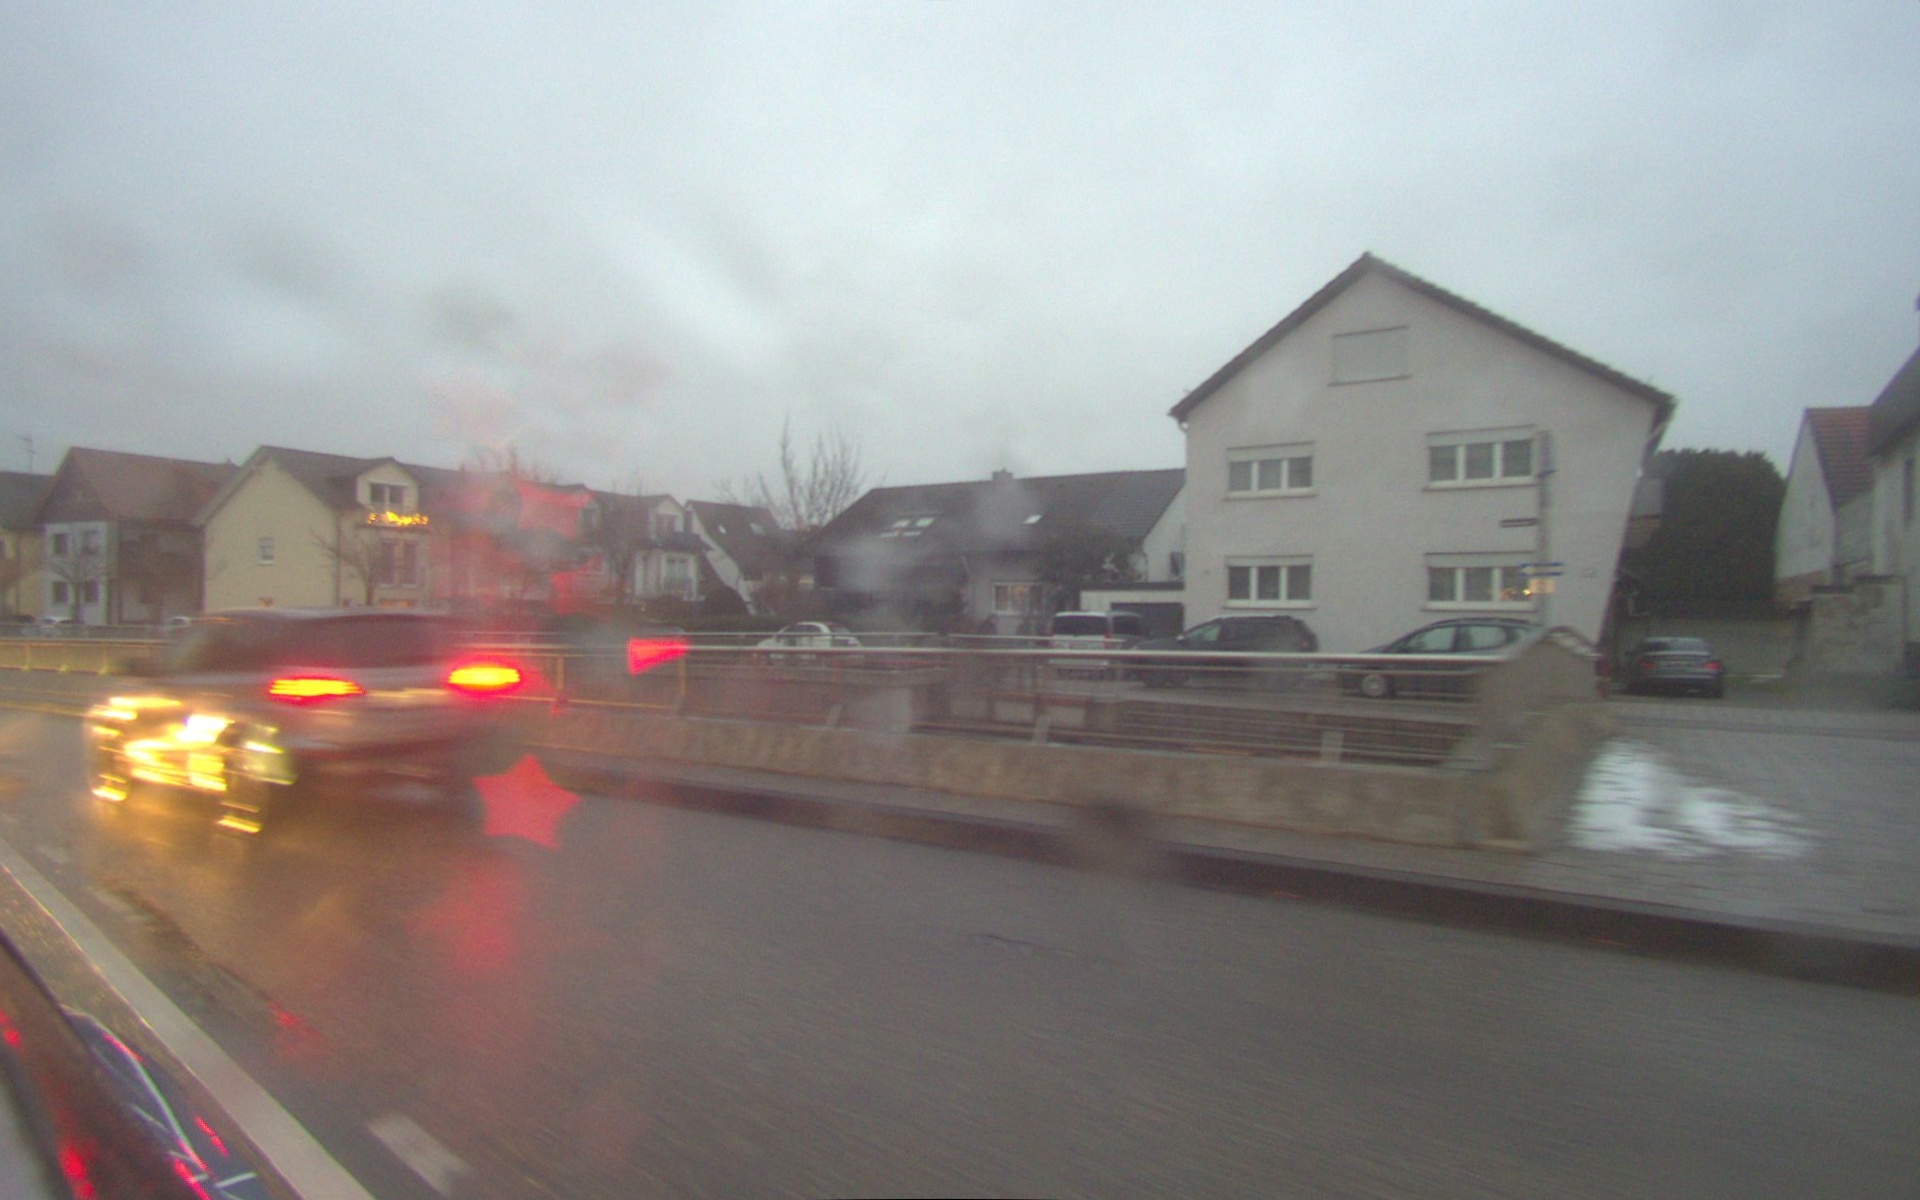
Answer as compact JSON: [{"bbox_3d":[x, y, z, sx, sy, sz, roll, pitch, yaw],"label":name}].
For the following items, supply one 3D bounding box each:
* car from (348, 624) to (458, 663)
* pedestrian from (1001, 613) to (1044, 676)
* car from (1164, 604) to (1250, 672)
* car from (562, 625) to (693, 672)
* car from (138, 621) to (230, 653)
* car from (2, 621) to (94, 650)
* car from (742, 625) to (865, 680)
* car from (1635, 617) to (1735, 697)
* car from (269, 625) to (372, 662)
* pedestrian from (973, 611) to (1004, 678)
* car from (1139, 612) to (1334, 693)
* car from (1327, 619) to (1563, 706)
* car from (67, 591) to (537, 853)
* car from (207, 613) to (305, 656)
[{"bbox_3d":[-22.163,1.678,40.261,4.236,1.480,1.783,-1,-2,27],"label":"car"},{"bbox_3d":[1.279,0.910,20.809,0.601,1.259,0.684,-2,-1,36],"label":"pedestrian"},{"bbox_3d":[7.677,1.241,31.255,1.467,1.952,3.663,-2,-5,33],"label":"car"},{"bbox_3d":[-11.274,1.599,34.246,4.236,1.480,1.783,-1,-2,27],"label":"car"},{"bbox_3d":[-36.419,1.761,47.518,3.991,1.480,1.663,-1,-4,23],"label":"car"},{"bbox_3d":[-47.361,1.809,52.541,4.586,1.480,1.786,-1,-2,23],"label":"car"},{"bbox_3d":[-4.641,1.510,29.948,3.490,1.520,1.463,-1,-2,31],"label":"car"},{"bbox_3d":[17.338,1.371,24.354,1.713,1.695,3.955,1,-3,33],"label":"car"},{"bbox_3d":[-27.023,1.815,42.732,4.236,1.480,1.783,-1,-2,27],"label":"car"},{"bbox_3d":[0.570,0.873,20.128,0.595,1.312,0.510,-1,-1,3],"label":"pedestrian"},{"bbox_3d":[6.203,1.117,22.795,3.946,1.673,1.686,-1,-1,31],"label":"car"},{"bbox_3d":[9.735,1.178,20.417,4.083,1.581,1.759,-1,-1,34],"label":"car"},{"bbox_3d":[-5.393,0.803,8.162,3.946,1.634,1.764,-2,-1,34],"label":"car"},{"bbox_3d":[-31.322,1.501,45.010,4.235,1.841,1.784,-1,-2,27],"label":"car"}]
